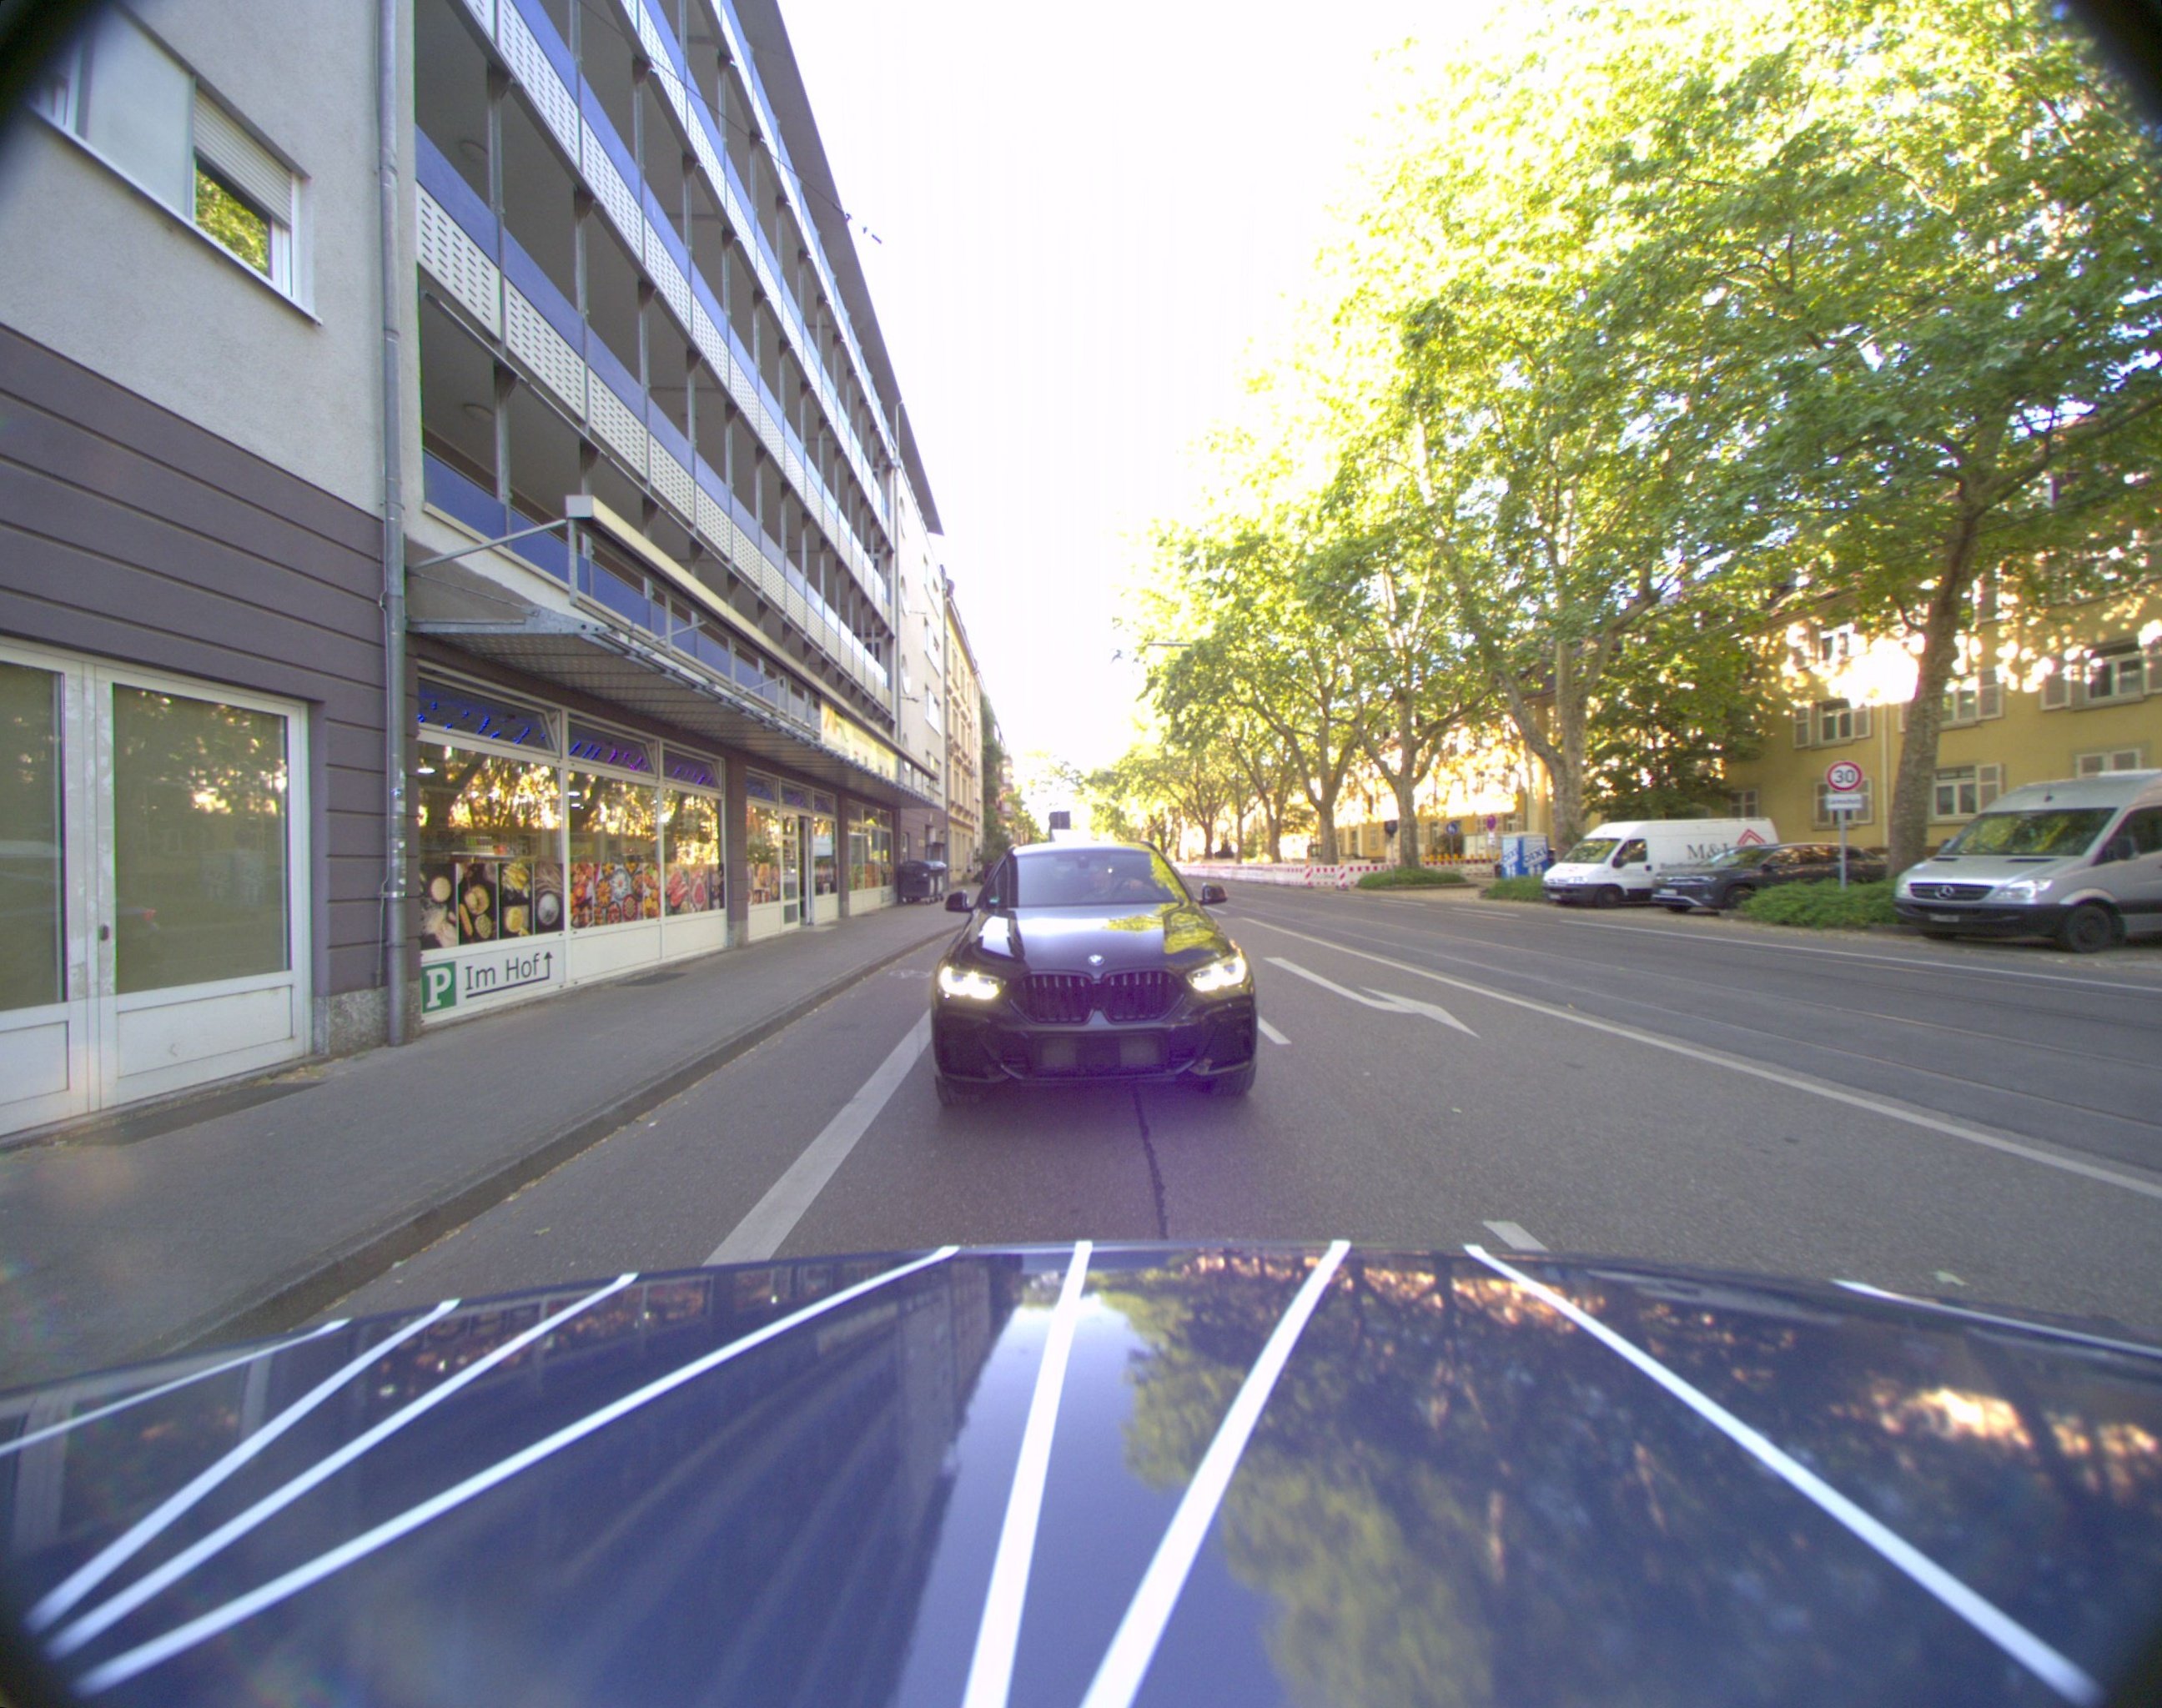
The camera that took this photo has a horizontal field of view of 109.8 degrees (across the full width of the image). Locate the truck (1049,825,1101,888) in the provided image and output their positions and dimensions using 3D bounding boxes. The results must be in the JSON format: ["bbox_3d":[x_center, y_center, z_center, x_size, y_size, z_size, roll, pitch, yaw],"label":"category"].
[{"bbox_3d":[-0.412,0.118,40.799,2.344,3.095,5.210,-2,1,-4],"label":"truck"}]

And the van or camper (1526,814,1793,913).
[{"bbox_3d":[15.866,0.243,21.077,5.763,2.371,2.156,-2,1,0],"label":"van or camper"}]

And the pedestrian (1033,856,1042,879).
[{"bbox_3d":[-3.101,0.953,53.863,0.541,1.662,0.630,-1,0,1],"label":"pedestrian"}]

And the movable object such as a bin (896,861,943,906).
[{"bbox_3d":[-5.263,0.943,24.838,1.203,1.402,1.372,-1,0,1],"label":"movable object such as a bin"}]

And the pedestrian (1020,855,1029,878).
[{"bbox_3d":[-4.066,0.881,54.532,0.541,1.662,0.513,-1,0,1],"label":"pedestrian"}]

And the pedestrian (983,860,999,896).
[{"bbox_3d":[-3.622,0.969,30.728,0.541,1.437,0.630,-1,0,1],"label":"pedestrian"}]

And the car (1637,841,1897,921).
[{"bbox_3d":[15.989,0.605,17.867,4.540,1.624,1.693,-2,1,1],"label":"car"}]

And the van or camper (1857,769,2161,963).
[{"bbox_3d":[16.000,0.086,11.671,5.931,2.633,2.156,-2,1,0],"label":"van or camper"}]

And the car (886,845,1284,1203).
[{"bbox_3d":[0.062,0.834,6.157,1.930,1.742,4.683,-2,1,1],"label":"car"}]

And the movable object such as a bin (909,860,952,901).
[{"bbox_3d":[-5.288,0.922,26.837,1.203,1.402,1.372,-1,0,1],"label":"movable object such as a bin"}]
